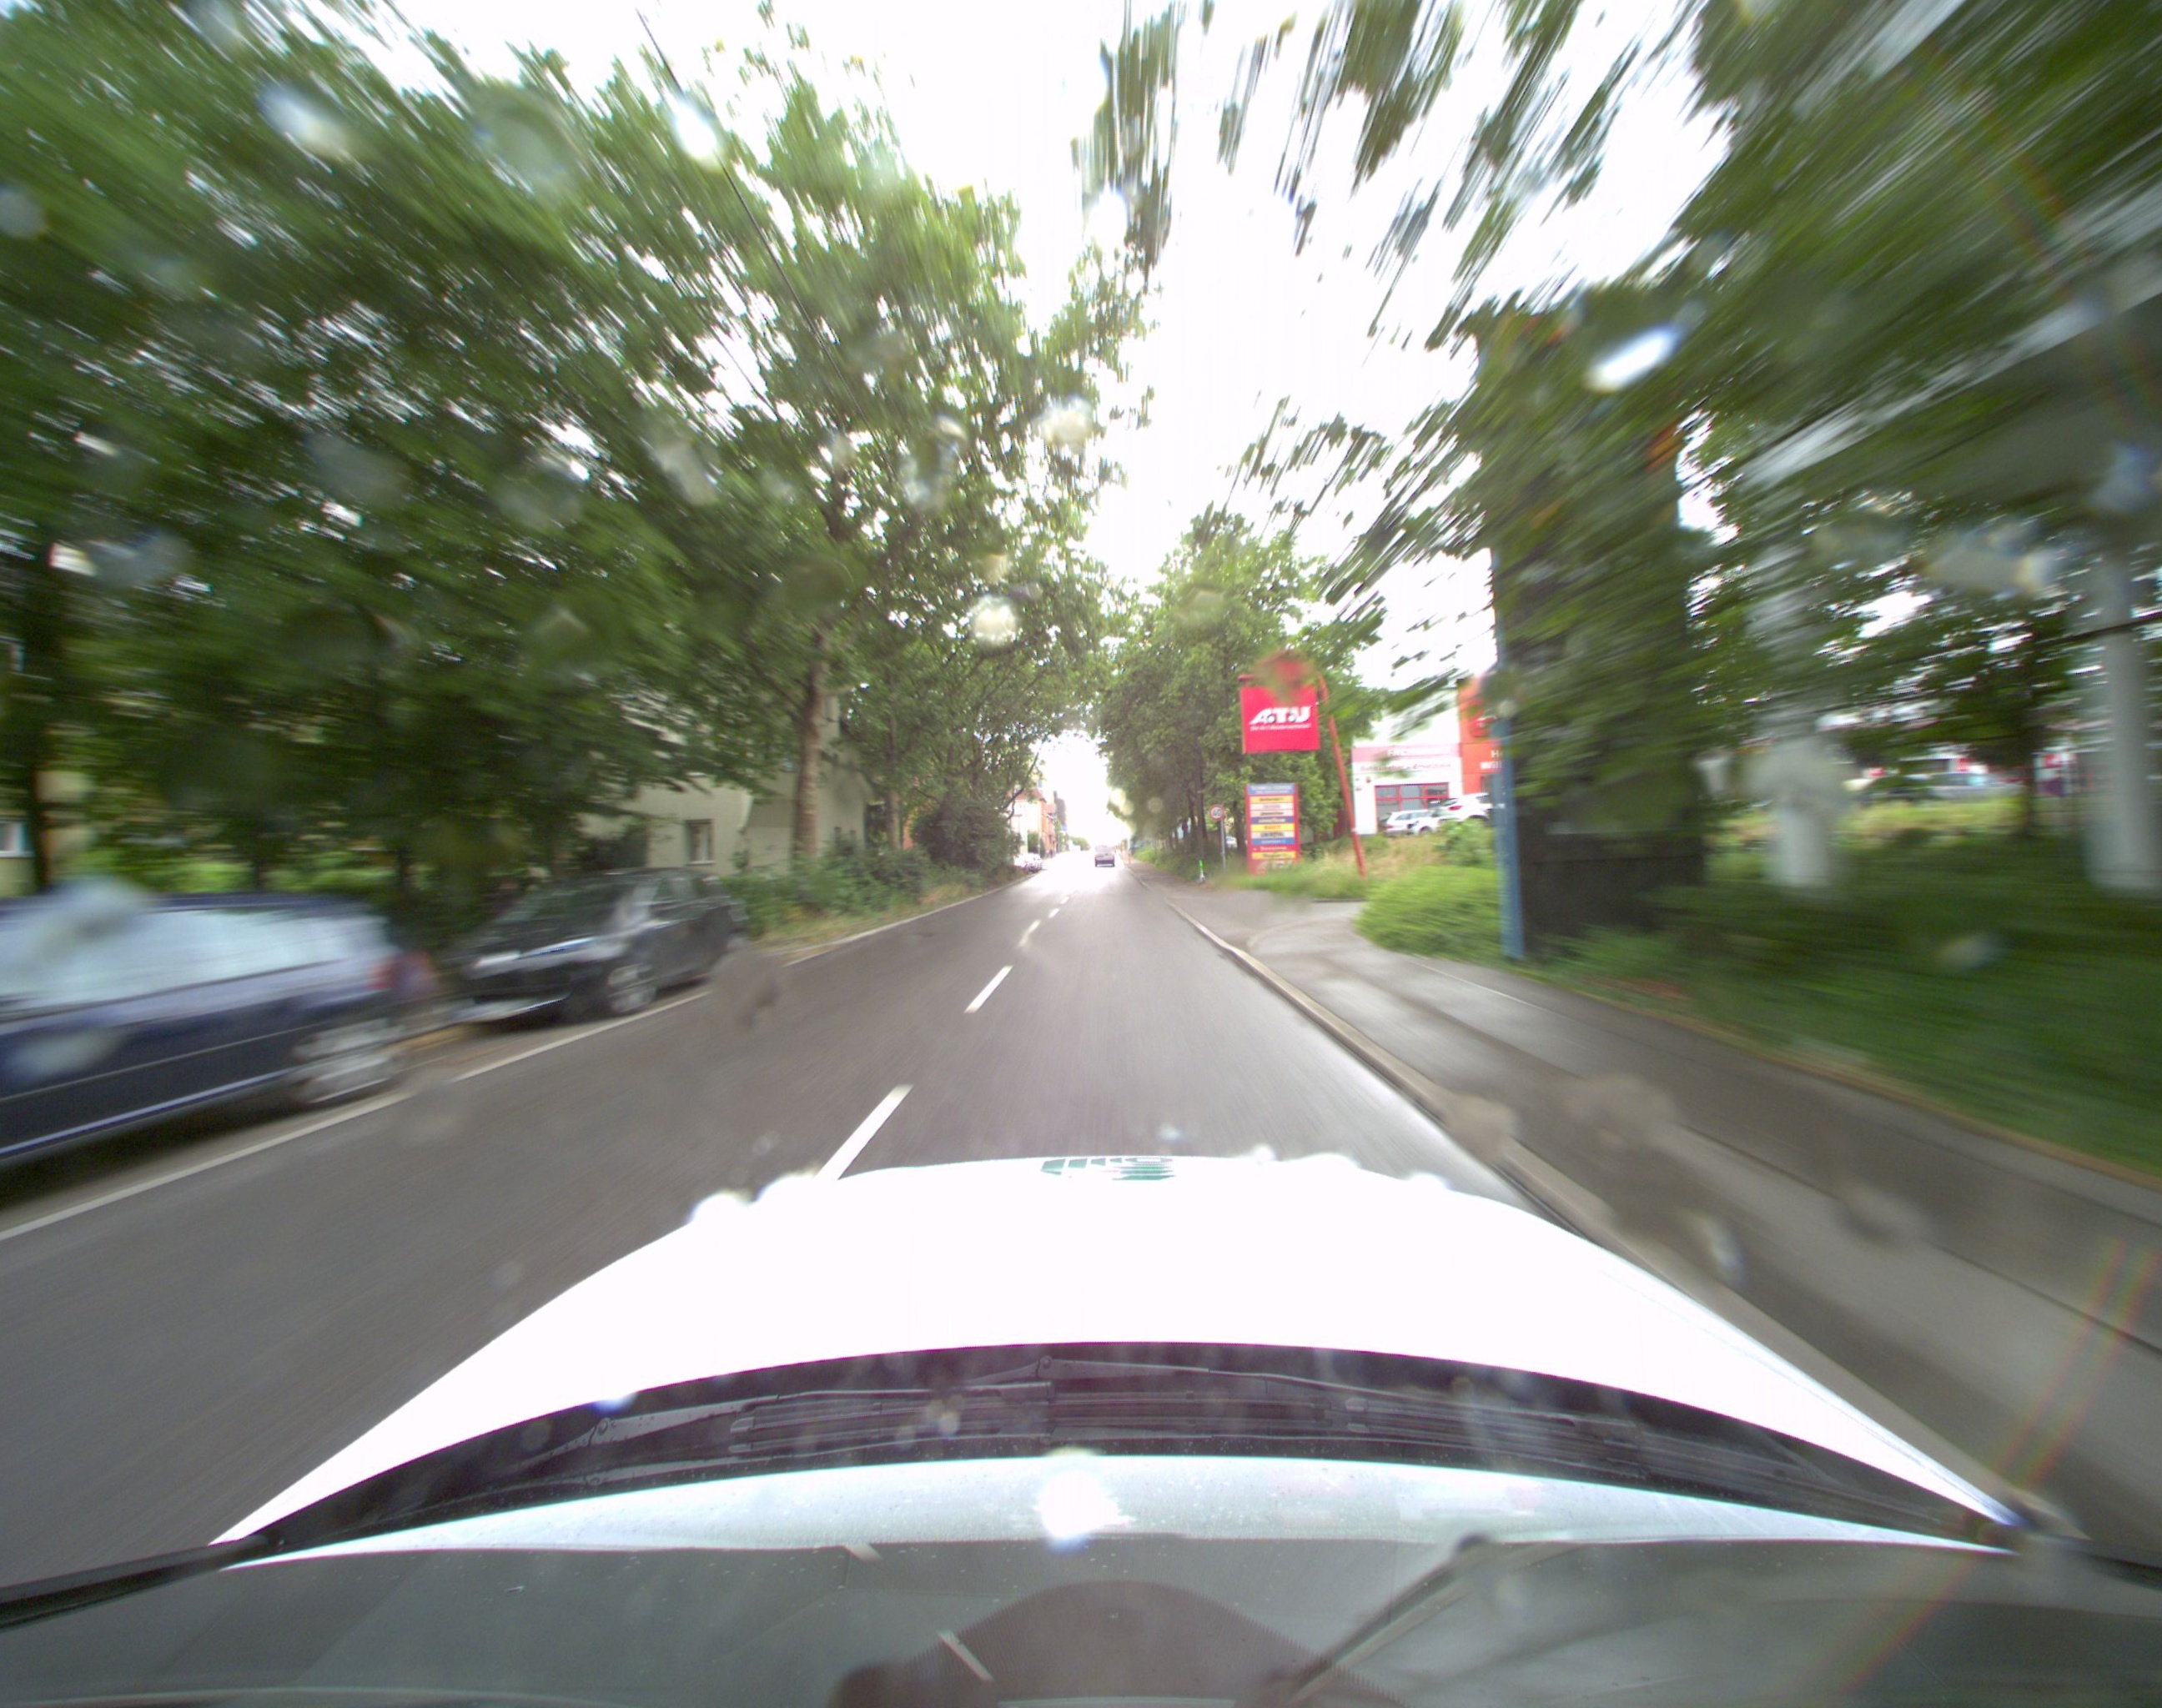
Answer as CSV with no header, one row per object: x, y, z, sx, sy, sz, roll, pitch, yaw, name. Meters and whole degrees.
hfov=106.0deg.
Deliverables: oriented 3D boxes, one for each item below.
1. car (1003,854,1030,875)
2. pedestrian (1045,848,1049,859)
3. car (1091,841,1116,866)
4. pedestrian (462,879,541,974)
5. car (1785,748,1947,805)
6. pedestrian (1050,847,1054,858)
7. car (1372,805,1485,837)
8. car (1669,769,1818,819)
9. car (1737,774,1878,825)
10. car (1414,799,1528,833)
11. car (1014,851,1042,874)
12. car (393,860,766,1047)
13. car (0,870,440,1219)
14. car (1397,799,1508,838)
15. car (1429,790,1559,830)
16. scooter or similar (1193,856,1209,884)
-4.635,0.737,58.659,1.633,1.373,3.758,-2,0,0,car
-6.368,-0.152,152.265,0.668,2.013,0.943,-2,0,6,pedestrian
2.318,-0.018,82.385,2.327,2.231,4.002,-3,-1,2,car
-10.314,1.266,14.528,0.584,1.620,1.022,0,-3,3,pedestrian
27.793,-2.708,28.936,3.977,1.783,1.913,0,-2,-3,car
-5.438,-0.293,152.219,0.668,2.013,0.943,-2,0,6,pedestrian
16.448,-1.551,38.705,4.593,1.334,1.801,-2,0,1,car
27.629,-2.491,34.054,4.757,1.783,1.914,-2,0,-3,car
27.610,-2.062,31.026,3.977,1.783,1.659,0,-2,-3,car
16.334,-1.578,34.256,3.903,1.293,1.834,-1,0,2,car
-4.142,0.647,64.082,1.684,1.542,4.119,-5,1,2,car
-5.377,0.926,9.472,1.642,1.538,4.019,-6,0,1,car
-5.659,0.954,4.028,1.666,1.508,3.876,-6,-1,2,car
16.558,-1.564,36.480,4.084,1.466,1.886,-2,0,2,car
15.866,-1.672,31.447,4.084,1.376,1.904,-1,0,2,car
5.092,0.681,34.532,0.424,1.142,1.528,0,-2,0,scooter or similar
